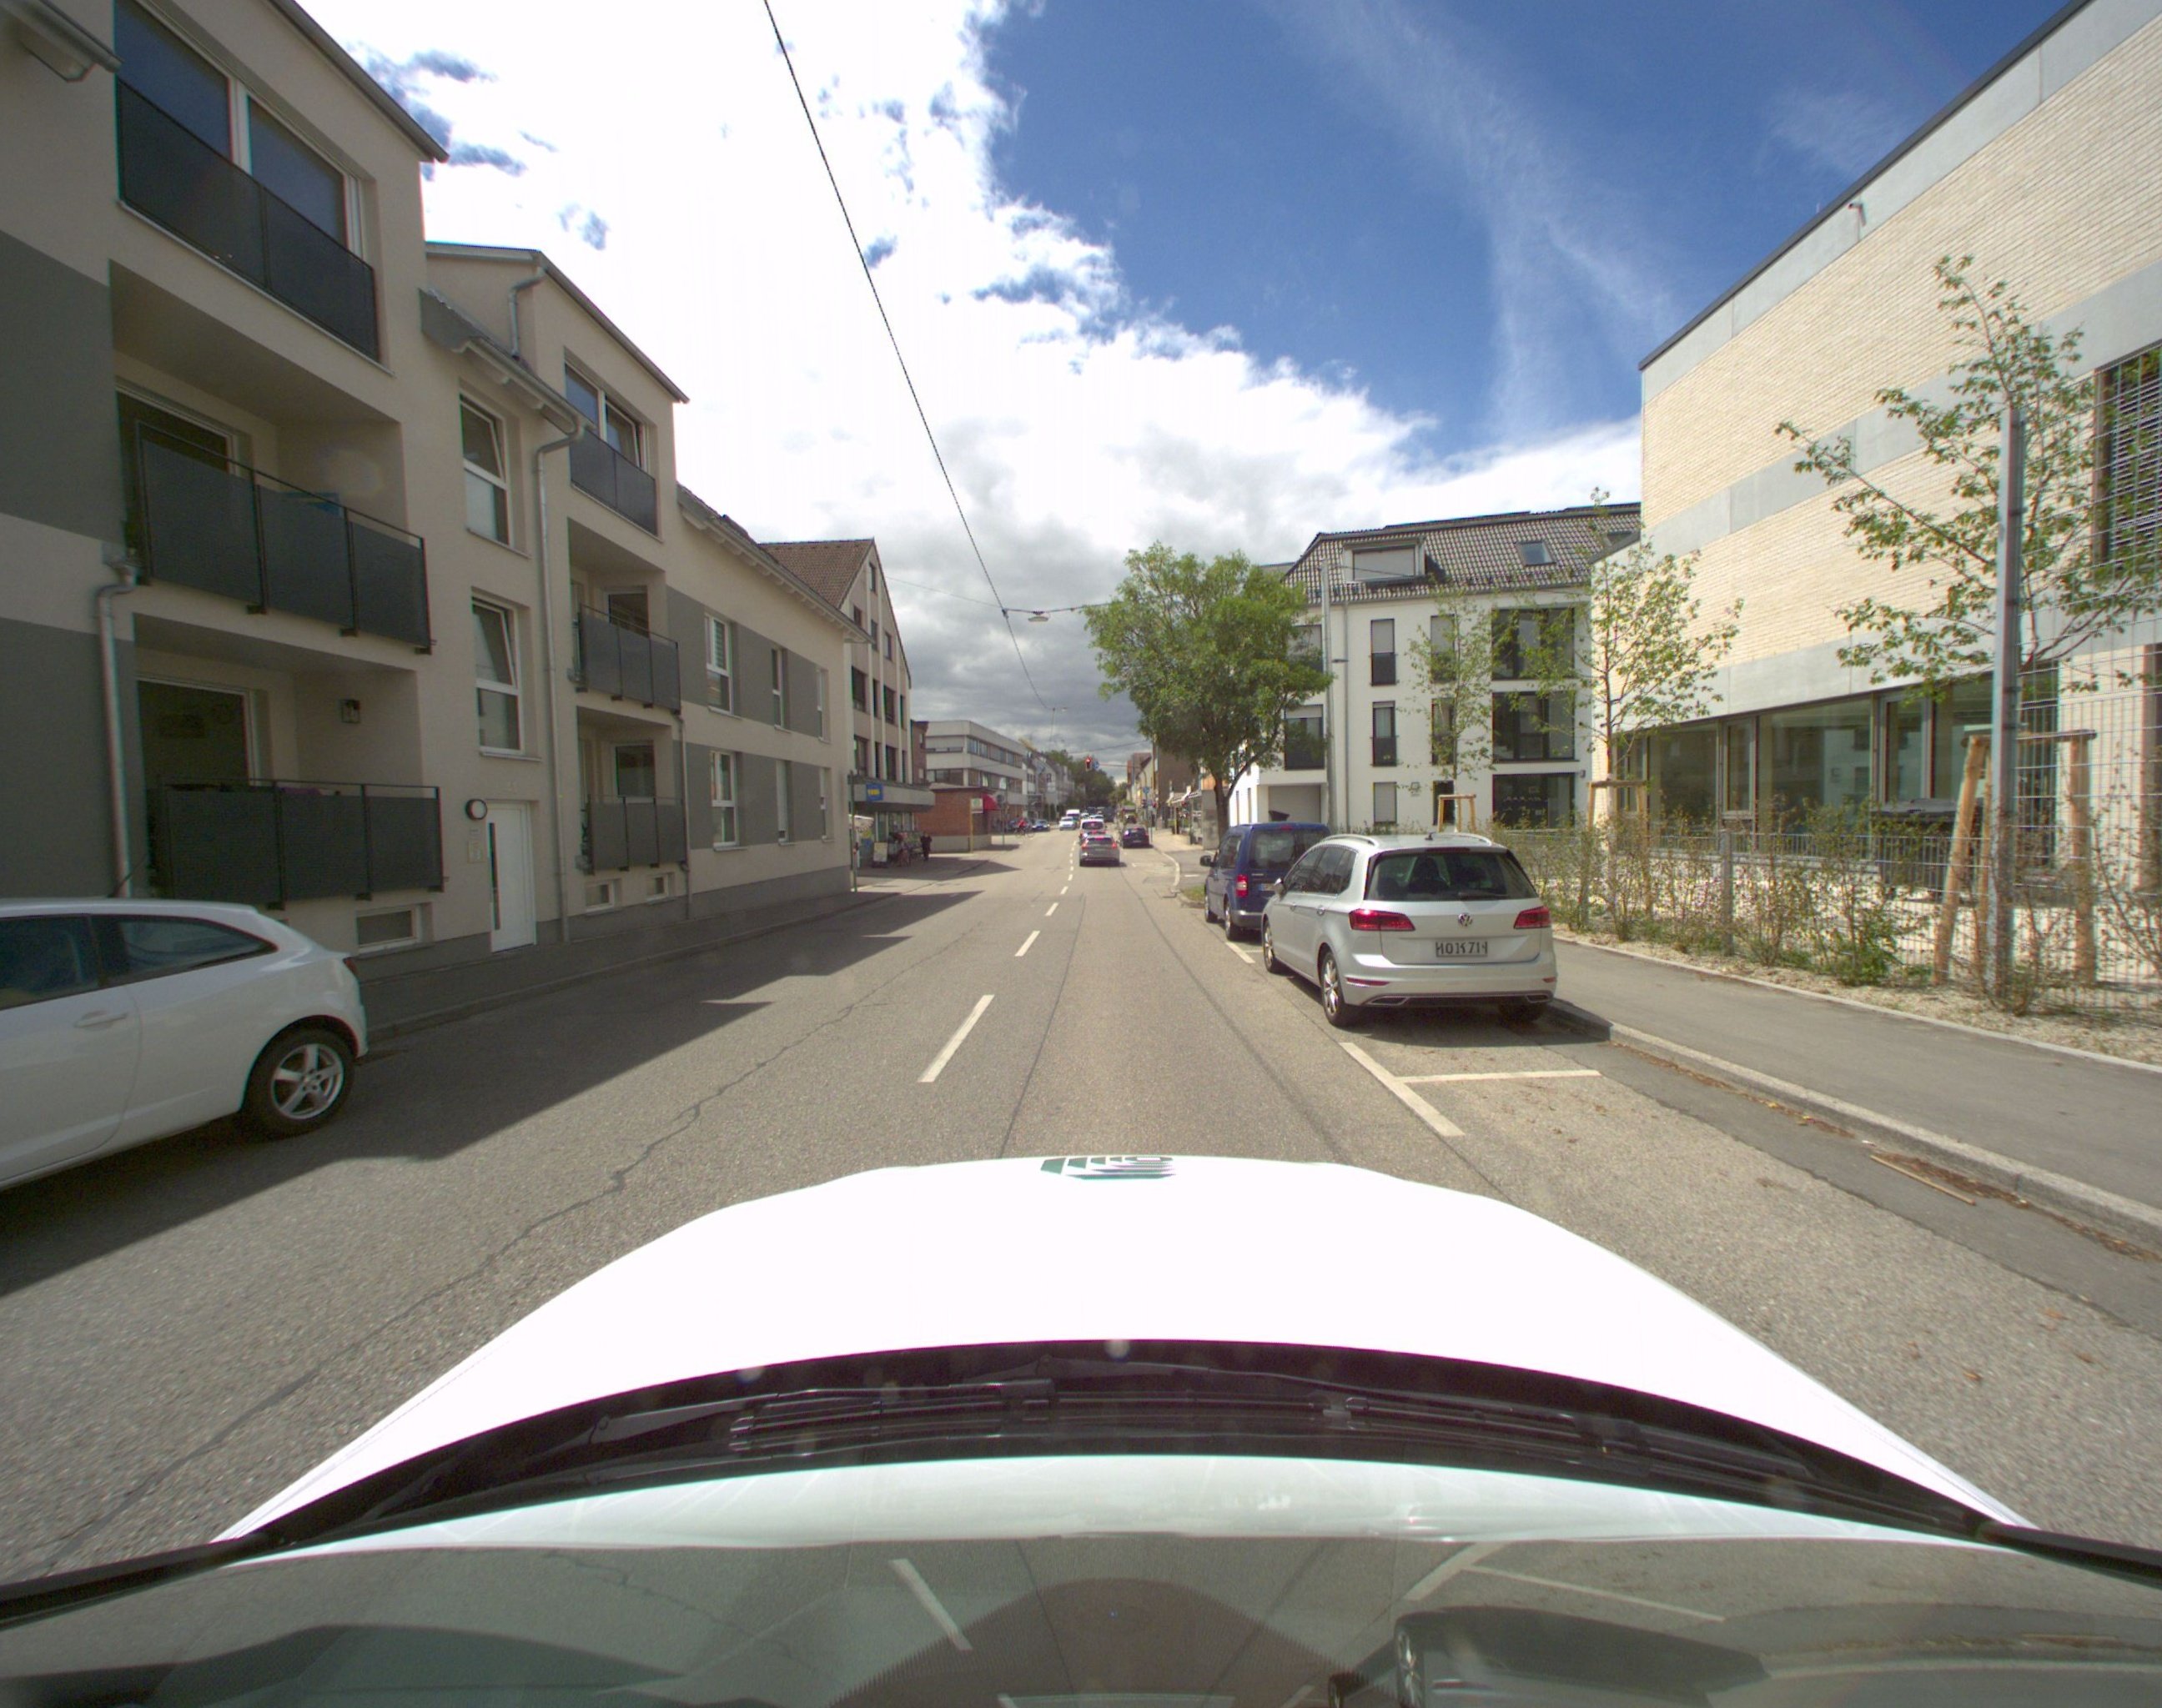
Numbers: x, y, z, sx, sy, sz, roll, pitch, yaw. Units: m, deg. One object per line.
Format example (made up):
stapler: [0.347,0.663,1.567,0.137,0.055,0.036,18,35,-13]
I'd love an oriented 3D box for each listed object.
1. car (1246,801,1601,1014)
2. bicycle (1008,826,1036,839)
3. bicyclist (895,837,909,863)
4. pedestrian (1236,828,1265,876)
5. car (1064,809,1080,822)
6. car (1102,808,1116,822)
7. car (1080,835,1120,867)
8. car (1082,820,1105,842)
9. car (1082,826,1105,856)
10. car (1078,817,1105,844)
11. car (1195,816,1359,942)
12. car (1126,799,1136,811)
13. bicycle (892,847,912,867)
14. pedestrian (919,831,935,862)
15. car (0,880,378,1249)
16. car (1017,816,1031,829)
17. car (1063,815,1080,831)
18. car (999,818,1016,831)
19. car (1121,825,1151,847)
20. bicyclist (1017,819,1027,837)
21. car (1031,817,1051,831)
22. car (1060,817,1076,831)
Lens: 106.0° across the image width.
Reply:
car: [2.909,0.364,8.055,1.779,1.509,4.366,-1,0,2]
bicycle: [-5.421,-1.981,75.017,2.511,1.174,0.586,-2,1,5]
bicyclist: [-8.345,-0.198,38.057,0.456,1.179,0.625,-2,1,1]
pedestrian: [6.084,-0.071,29.197,0.742,1.647,0.610,-3,1,-32]
car: [-1.296,-5.410,115.550,1.864,1.640,4.005,-1,0,4]
car: [4.764,-6.587,138.412,2.427,2.318,5.329,0,1,1]
car: [0.923,-0.178,38.625,1.737,1.416,4.002,-2,1,2]
car: [1.096,-1.948,69.692,1.830,1.862,3.852,-1,1,2]
car: [0.725,-0.798,48.308,1.269,1.527,3.052,-2,4,1]
car: [0.801,-1.644,58.163,1.830,1.862,3.852,-1,1,2]
car: [3.128,0.337,13.935,1.837,1.767,4.517,-1,0,2]
car: [9.361,-9.126,152.120,1.795,2.013,4.002,-1,0,2]
bicycle: [-8.332,0.142,37.931,0.465,0.861,1.778,0,3,2]
pedestrian: [-8.120,-0.414,42.906,0.624,1.602,0.564,-1,1,9]
car: [-5.195,0.908,3.170,1.642,1.418,3.698,-2,0,0]
car: [-7.223,-3.923,102.636,1.379,1.541,3.400,-1,0,2]
car: [-1.255,-4.101,107.751,1.986,2.013,4.002,0,1,2]
car: [-8.785,-3.549,97.355,1.546,1.376,3.400,-1,0,2]
car: [3.672,-1.224,54.515,1.747,1.370,4.001,-1,2,0]
bicyclist: [-5.443,-2.397,75.018,0.768,1.606,0.582,-1,0,5]
car: [-4.774,-3.581,97.957,1.864,1.640,4.005,0,1,4]
car: [-1.577,-3.764,101.608,1.866,1.640,4.002,0,1,2]
